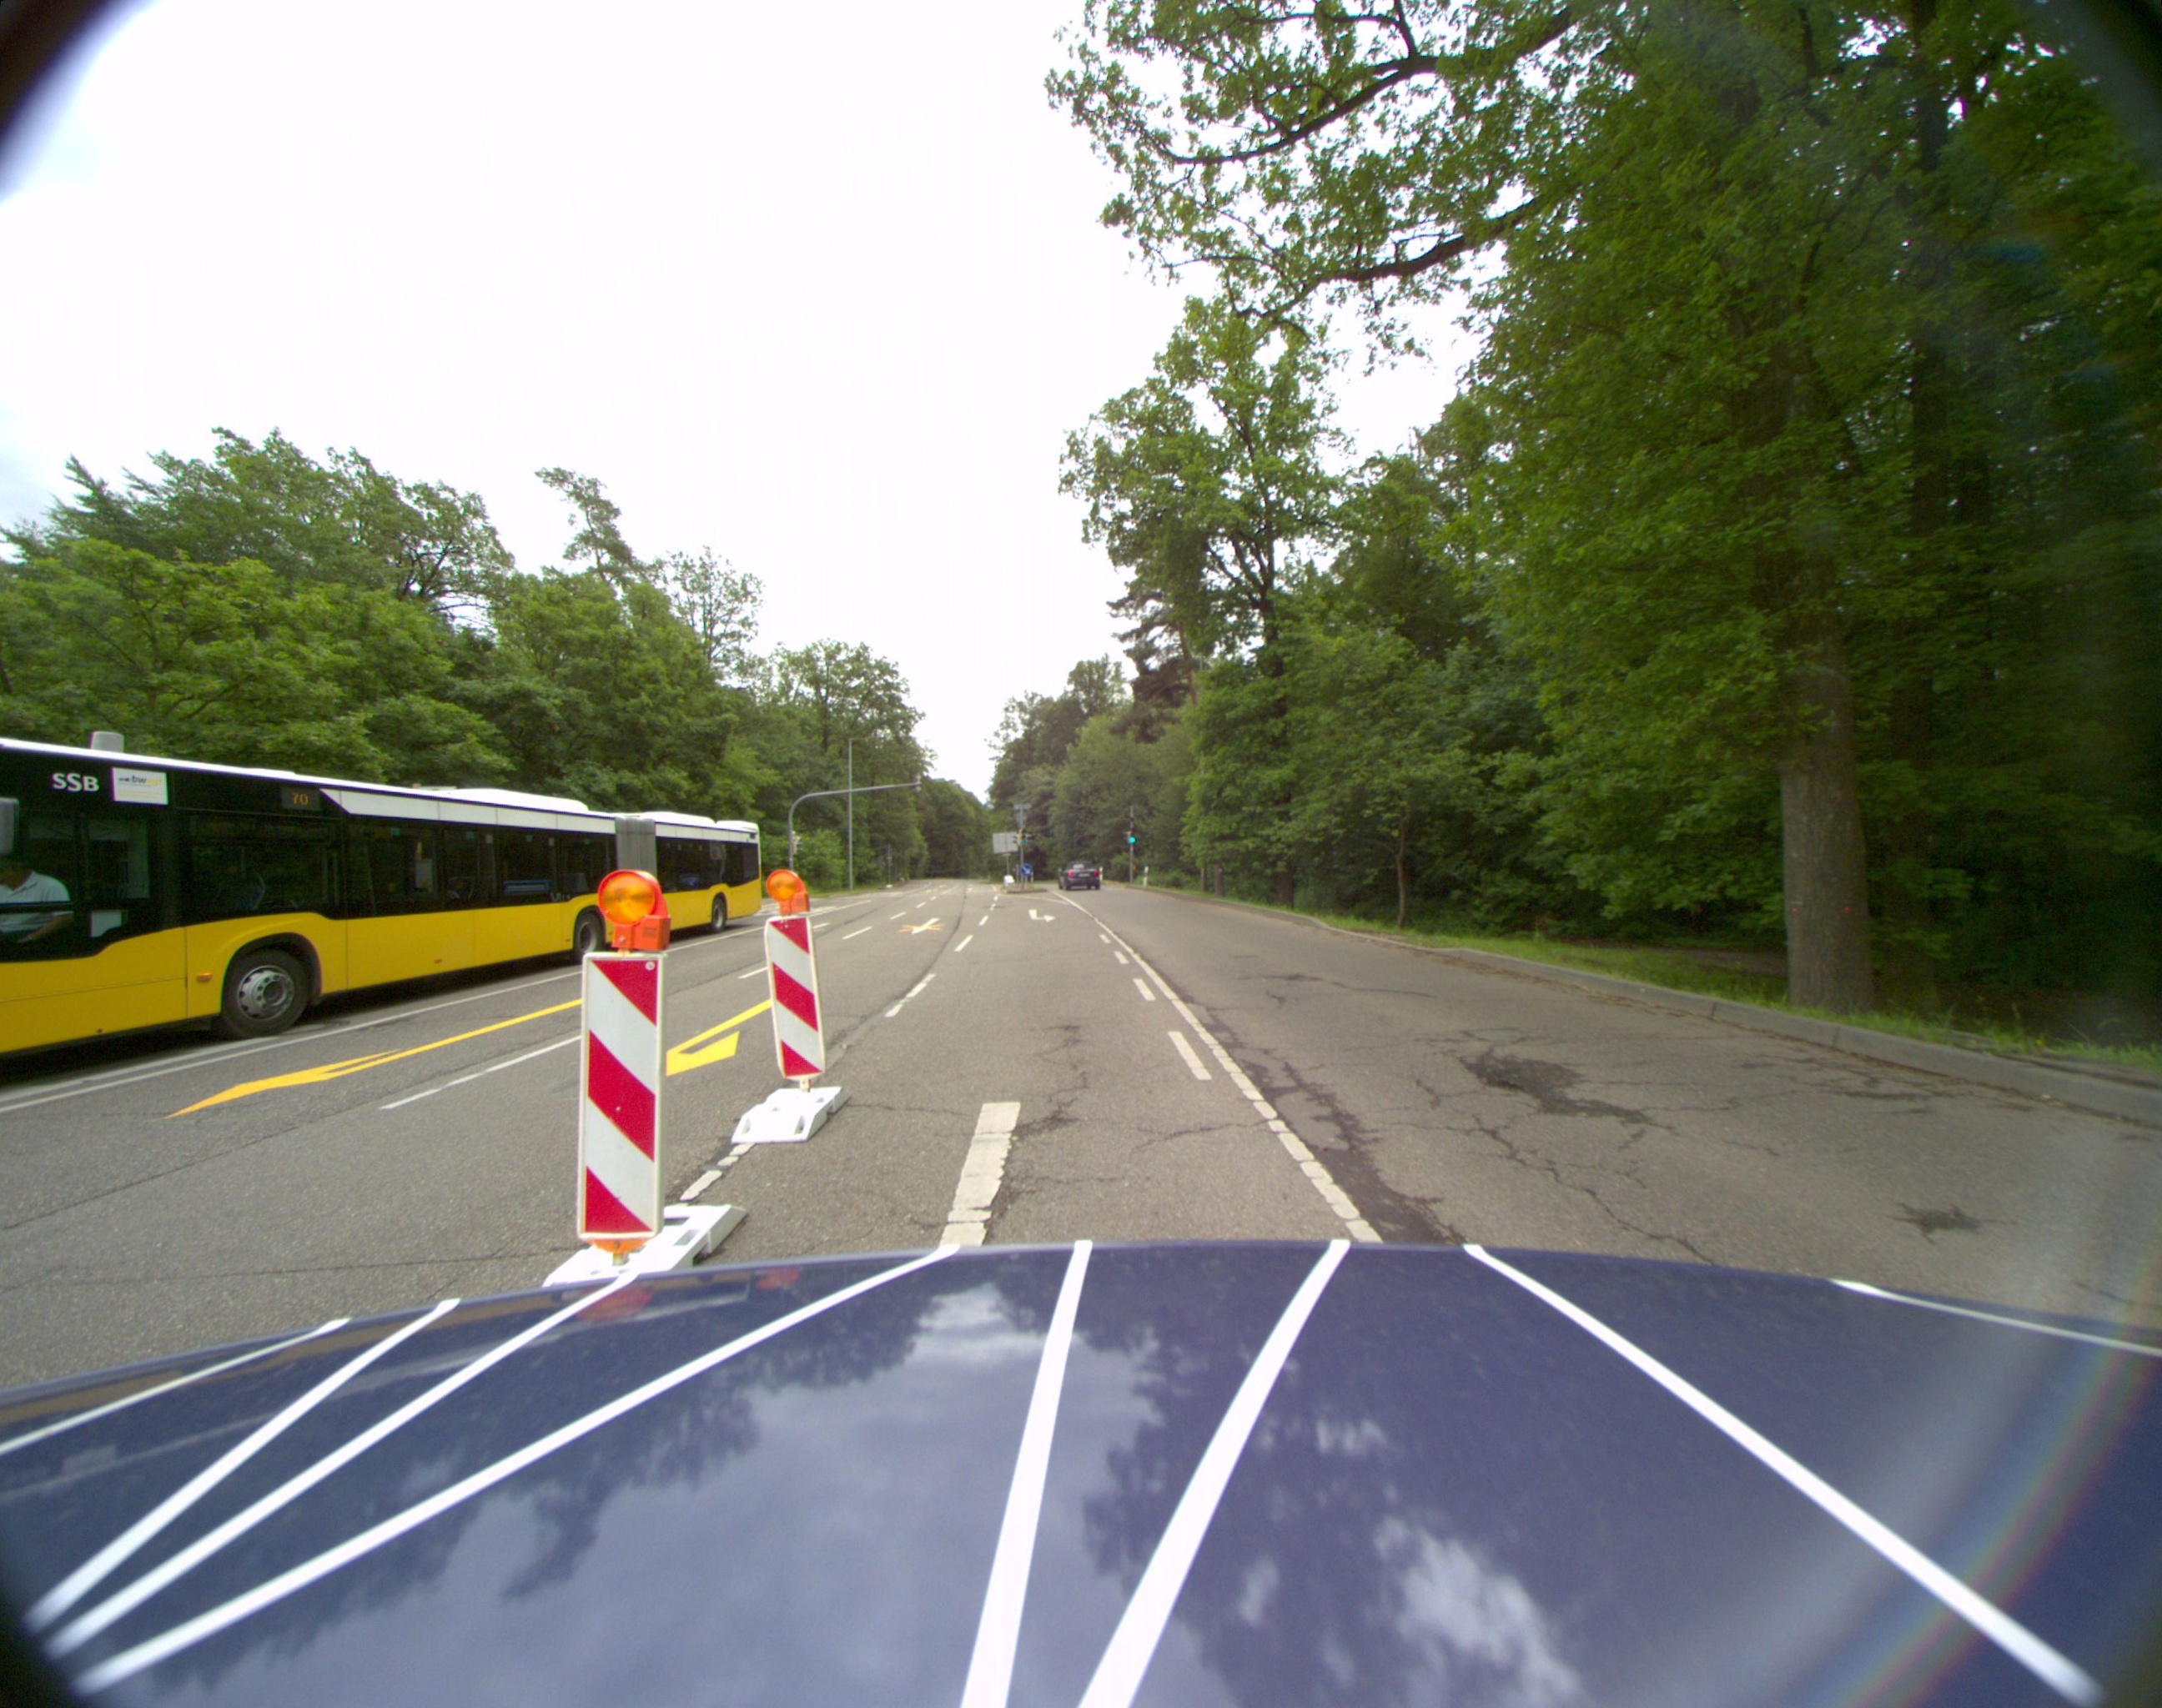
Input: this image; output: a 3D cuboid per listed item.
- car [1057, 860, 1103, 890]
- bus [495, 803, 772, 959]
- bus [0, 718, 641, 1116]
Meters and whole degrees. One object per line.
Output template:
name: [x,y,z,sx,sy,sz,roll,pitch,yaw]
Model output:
car: [-0.093,1.026,38.626,1.752,1.322,3.997,-2,1,-8]
bus: [-10.759,0.566,19.489,2.811,3.140,7.754,-2,0,-4]
bus: [-10.209,0.551,10.349,2.811,3.140,10.515,-2,0,-4]
